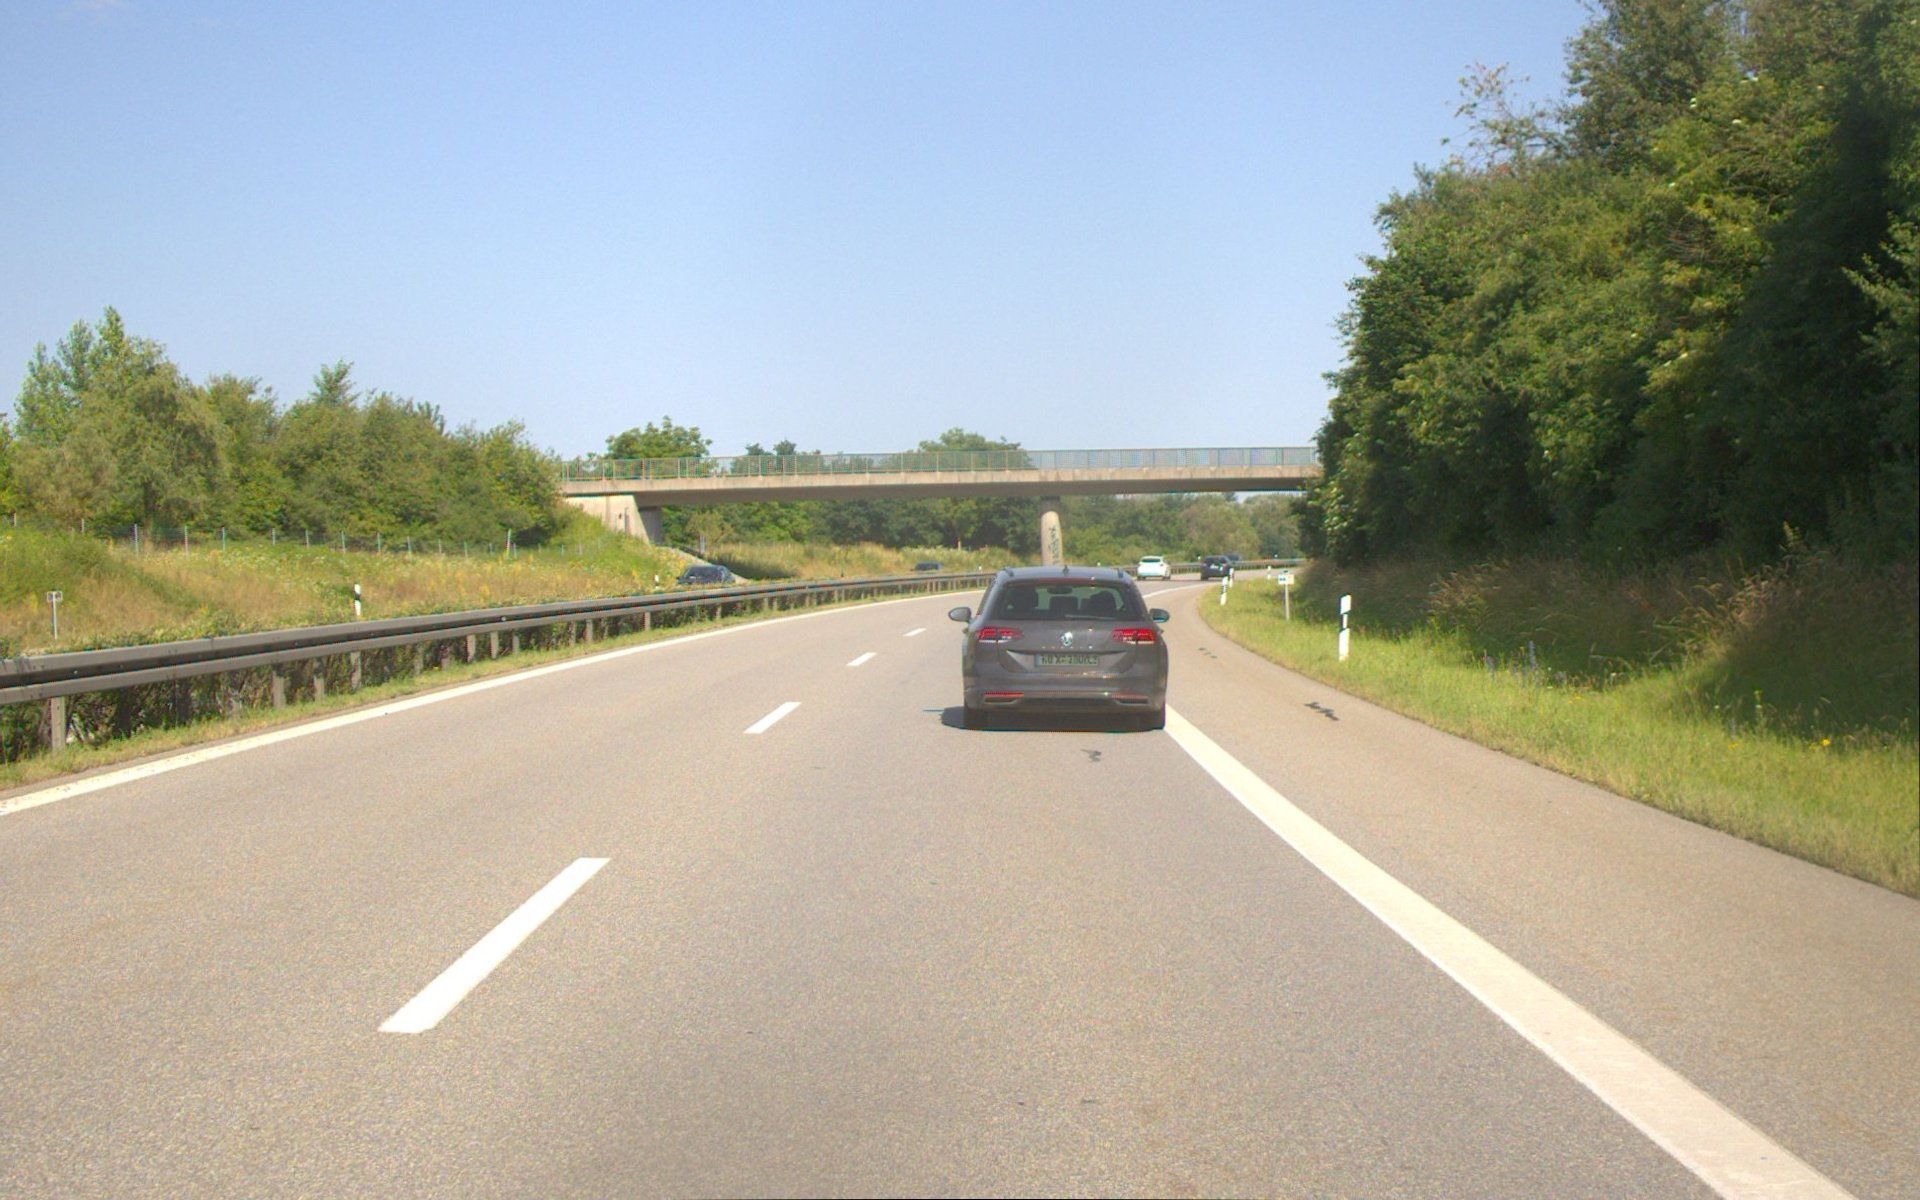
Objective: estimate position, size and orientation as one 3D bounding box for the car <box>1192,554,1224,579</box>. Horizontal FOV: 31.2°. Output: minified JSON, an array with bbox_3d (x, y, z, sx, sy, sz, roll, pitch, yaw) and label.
[{"bbox_3d":[15.248,-2.050,211.434,1.710,1.382,3.355,1,-1,0],"label":"car"}]

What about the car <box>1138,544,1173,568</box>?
[{"bbox_3d":[11.955,-2.706,210.560,2.007,1.340,4.000,1,-1,2],"label":"car"}]

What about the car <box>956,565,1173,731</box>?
[{"bbox_3d":[0.930,0.386,30.950,1.791,1.340,4.000,1,1,1],"label":"car"}]
